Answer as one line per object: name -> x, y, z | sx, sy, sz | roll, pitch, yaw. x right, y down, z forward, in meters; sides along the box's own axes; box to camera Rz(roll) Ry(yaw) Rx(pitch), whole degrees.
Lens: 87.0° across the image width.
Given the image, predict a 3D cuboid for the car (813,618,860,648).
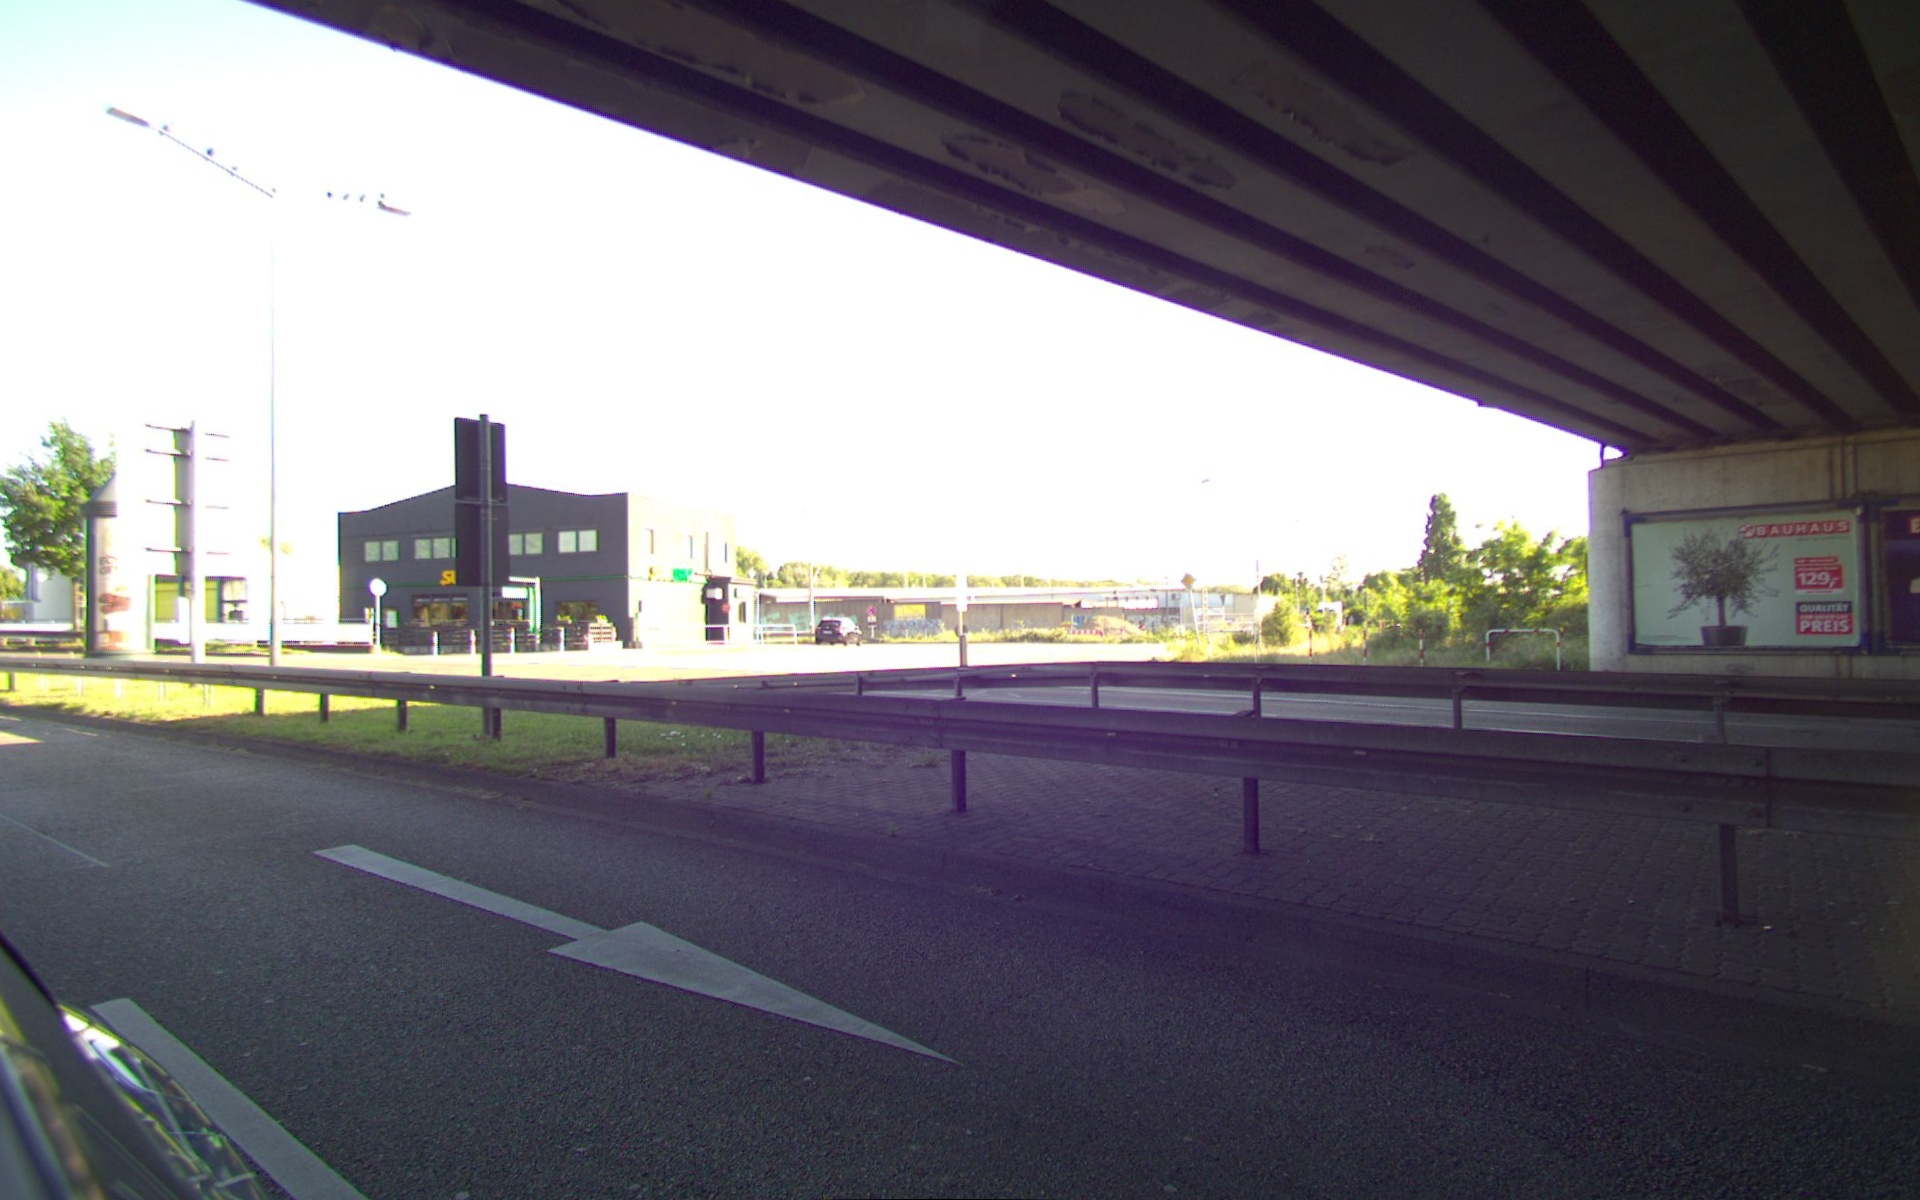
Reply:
car -> -6.684, 1.770, 54.994 | 1.858, 1.453, 3.996 | -1, 0, 3
